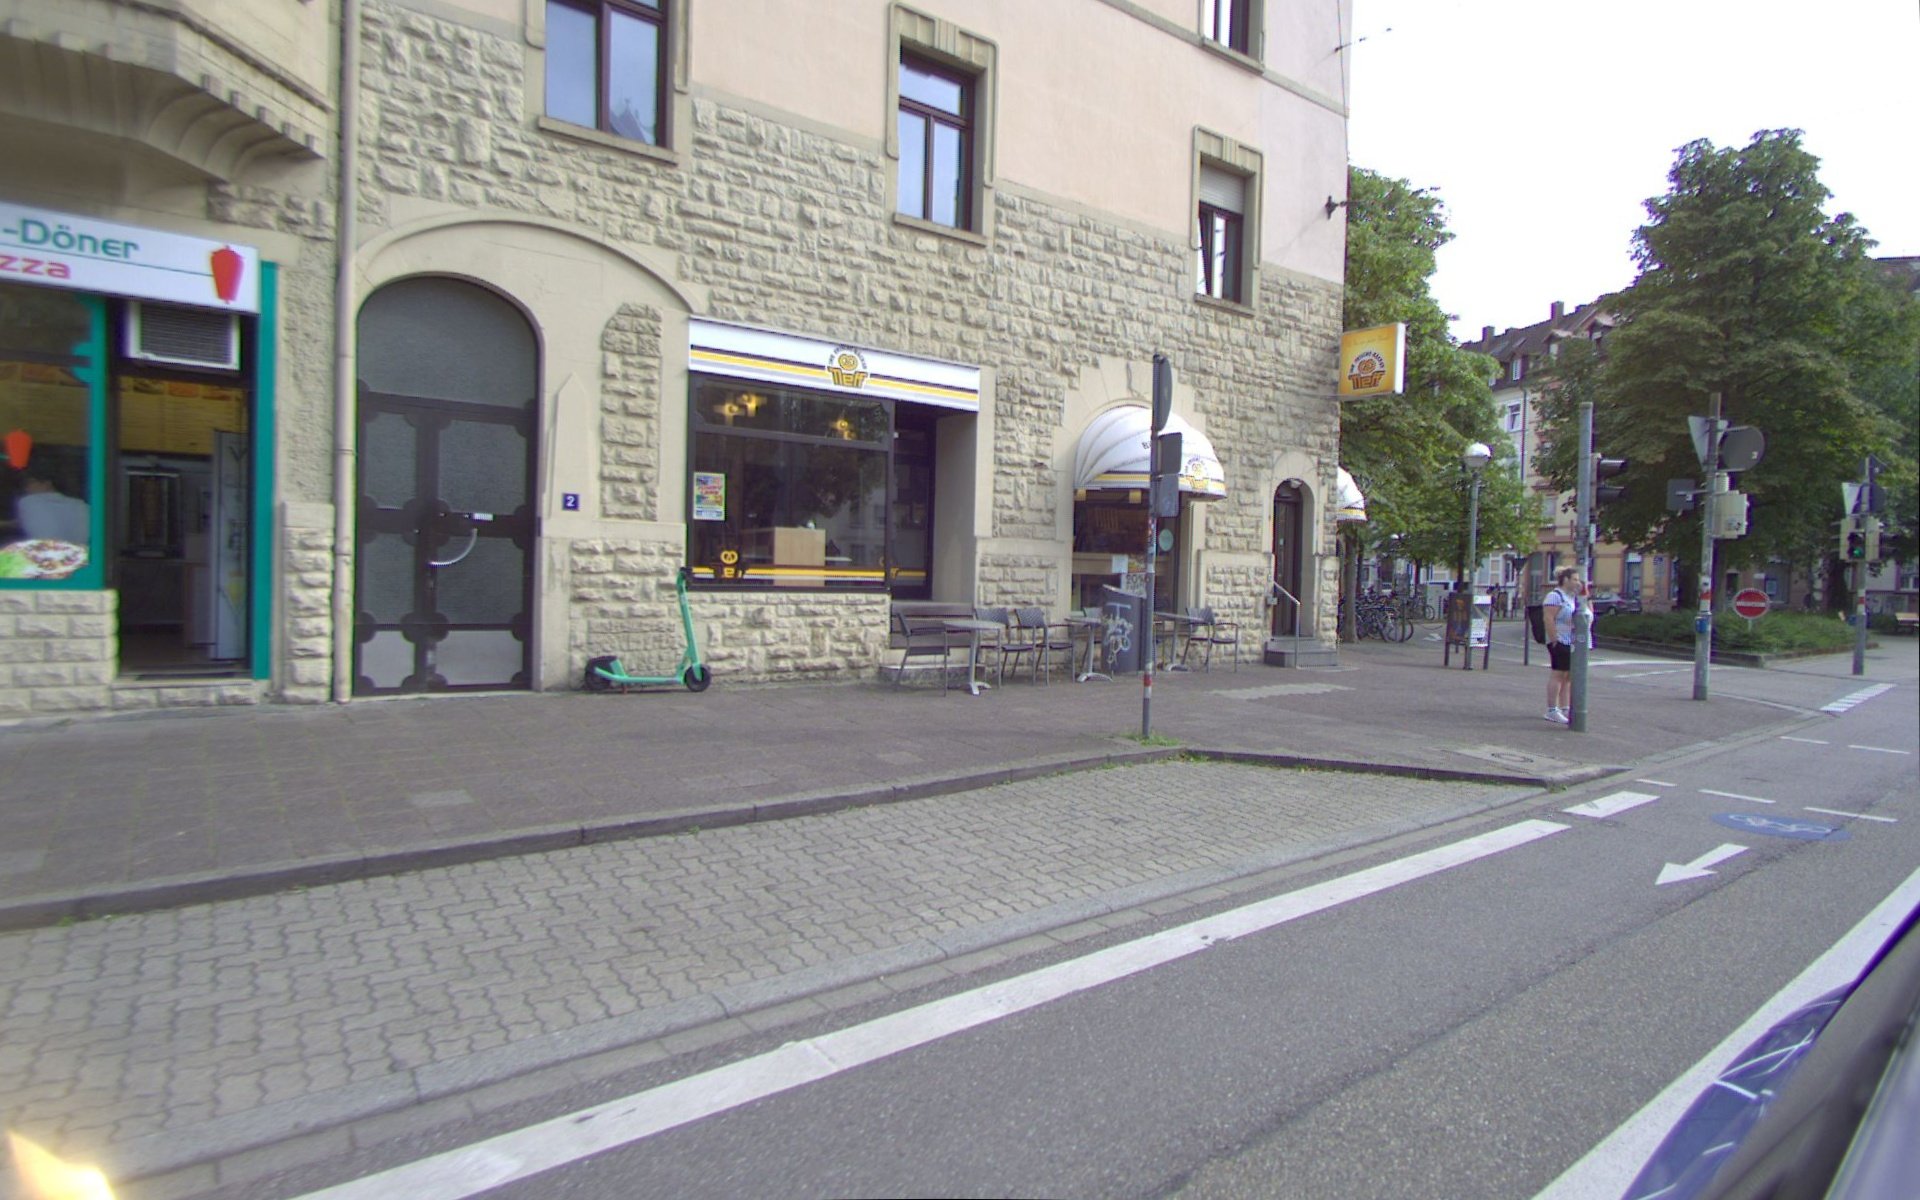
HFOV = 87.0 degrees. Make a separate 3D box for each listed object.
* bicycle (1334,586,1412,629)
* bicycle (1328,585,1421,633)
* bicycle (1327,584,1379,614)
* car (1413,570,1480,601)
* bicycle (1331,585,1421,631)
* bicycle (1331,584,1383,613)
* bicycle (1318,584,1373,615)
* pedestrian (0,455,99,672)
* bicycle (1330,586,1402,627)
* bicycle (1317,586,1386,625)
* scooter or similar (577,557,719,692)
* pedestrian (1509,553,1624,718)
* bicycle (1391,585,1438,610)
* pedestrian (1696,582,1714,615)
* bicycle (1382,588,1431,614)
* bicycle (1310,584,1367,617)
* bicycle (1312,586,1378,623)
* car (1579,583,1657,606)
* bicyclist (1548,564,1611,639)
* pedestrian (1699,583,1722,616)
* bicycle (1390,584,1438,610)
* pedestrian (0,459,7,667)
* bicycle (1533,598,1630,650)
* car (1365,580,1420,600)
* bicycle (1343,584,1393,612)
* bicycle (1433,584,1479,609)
[{"bbox_3d":[10.681,0.187,26.206,1.760,1.051,0.482,2,0,3],"label":"bicycle"},{"bbox_3d":[9.844,0.201,24.042,2.008,1.051,0.483,2,0,-4],"label":"bicycle"},{"bbox_3d":[14.731,-0.057,37.945,1.776,1.051,0.478,2,0,27],"label":"bicycle"},{"bbox_3d":[34.542,-1.018,71.991,1.702,2.143,4.555,0,1,-16],"label":"car"},{"bbox_3d":[10.203,0.198,24.841,2.008,1.051,0.483,2,0,-4],"label":"bicycle"},{"bbox_3d":[15.114,-0.069,38.575,1.776,1.051,0.478,2,0,27],"label":"bicycle"},{"bbox_3d":[13.847,-0.034,36.350,1.776,1.051,0.478,2,0,27],"label":"bicycle"},{"bbox_3d":[-7.072,-0.280,7.838,0.550,1.600,0.551,1,1,-35],"label":"pedestrian"},{"bbox_3d":[11.148,0.168,27.815,1.760,1.051,0.482,2,0,3],"label":"bicycle"},{"bbox_3d":[11.256,0.150,29.142,1.764,1.051,0.481,2,0,9],"label":"bicycle"},{"bbox_3d":[-2.899,0.217,9.443,1.173,1.182,0.399,0,3,-35],"label":"scooter or similar"},{"bbox_3d":[6.617,0.359,11.055,0.746,1.679,0.721,0,6,-38],"label":"pedestrian"},{"bbox_3d":[19.717,-0.111,43.941,1.787,1.051,0.475,3,1,43],"label":"bicycle"},{"bbox_3d":[39.546,-0.065,53.716,0.629,1.715,0.612,0,2,-40],"label":"pedestrian"},{"bbox_3d":[18.824,0.034,42.676,1.787,1.051,0.475,3,1,43],"label":"bicycle"},{"bbox_3d":[13.011,0.000,34.839,1.776,1.051,0.478,2,0,27],"label":"bicycle"},{"bbox_3d":[11.593,0.128,30.502,1.764,1.051,0.481,2,0,9],"label":"bicycle"},{"bbox_3d":[37.524,-0.346,57.785,1.703,1.282,3.597,0,1,-11],"label":"car"},{"bbox_3d":[14.604,0.026,23.892,0.826,1.711,1.243,2,1,11],"label":"bicyclist"},{"bbox_3d":[40.311,-0.037,54.364,0.764,1.715,0.790,0,2,-37],"label":"pedestrian"},{"bbox_3d":[19.376,-0.146,43.228,1.787,1.051,0.475,3,1,43],"label":"bicycle"},{"bbox_3d":[-7.603,-0.282,7.652,0.498,1.600,0.561,1,1,-35],"label":"pedestrian"},{"bbox_3d":[14.607,0.525,23.905,0.872,1.058,3.088,2,2,11],"label":"bicycle"},{"bbox_3d":[33.053,-0.788,77.473,1.702,1.491,3.967,0,1,-16],"label":"car"},{"bbox_3d":[16.001,-0.077,39.719,1.776,1.051,0.478,2,0,27],"label":"bicycle"},{"bbox_3d":[22.271,-0.155,45.489,1.787,1.051,0.475,3,1,43],"label":"bicycle"}]
